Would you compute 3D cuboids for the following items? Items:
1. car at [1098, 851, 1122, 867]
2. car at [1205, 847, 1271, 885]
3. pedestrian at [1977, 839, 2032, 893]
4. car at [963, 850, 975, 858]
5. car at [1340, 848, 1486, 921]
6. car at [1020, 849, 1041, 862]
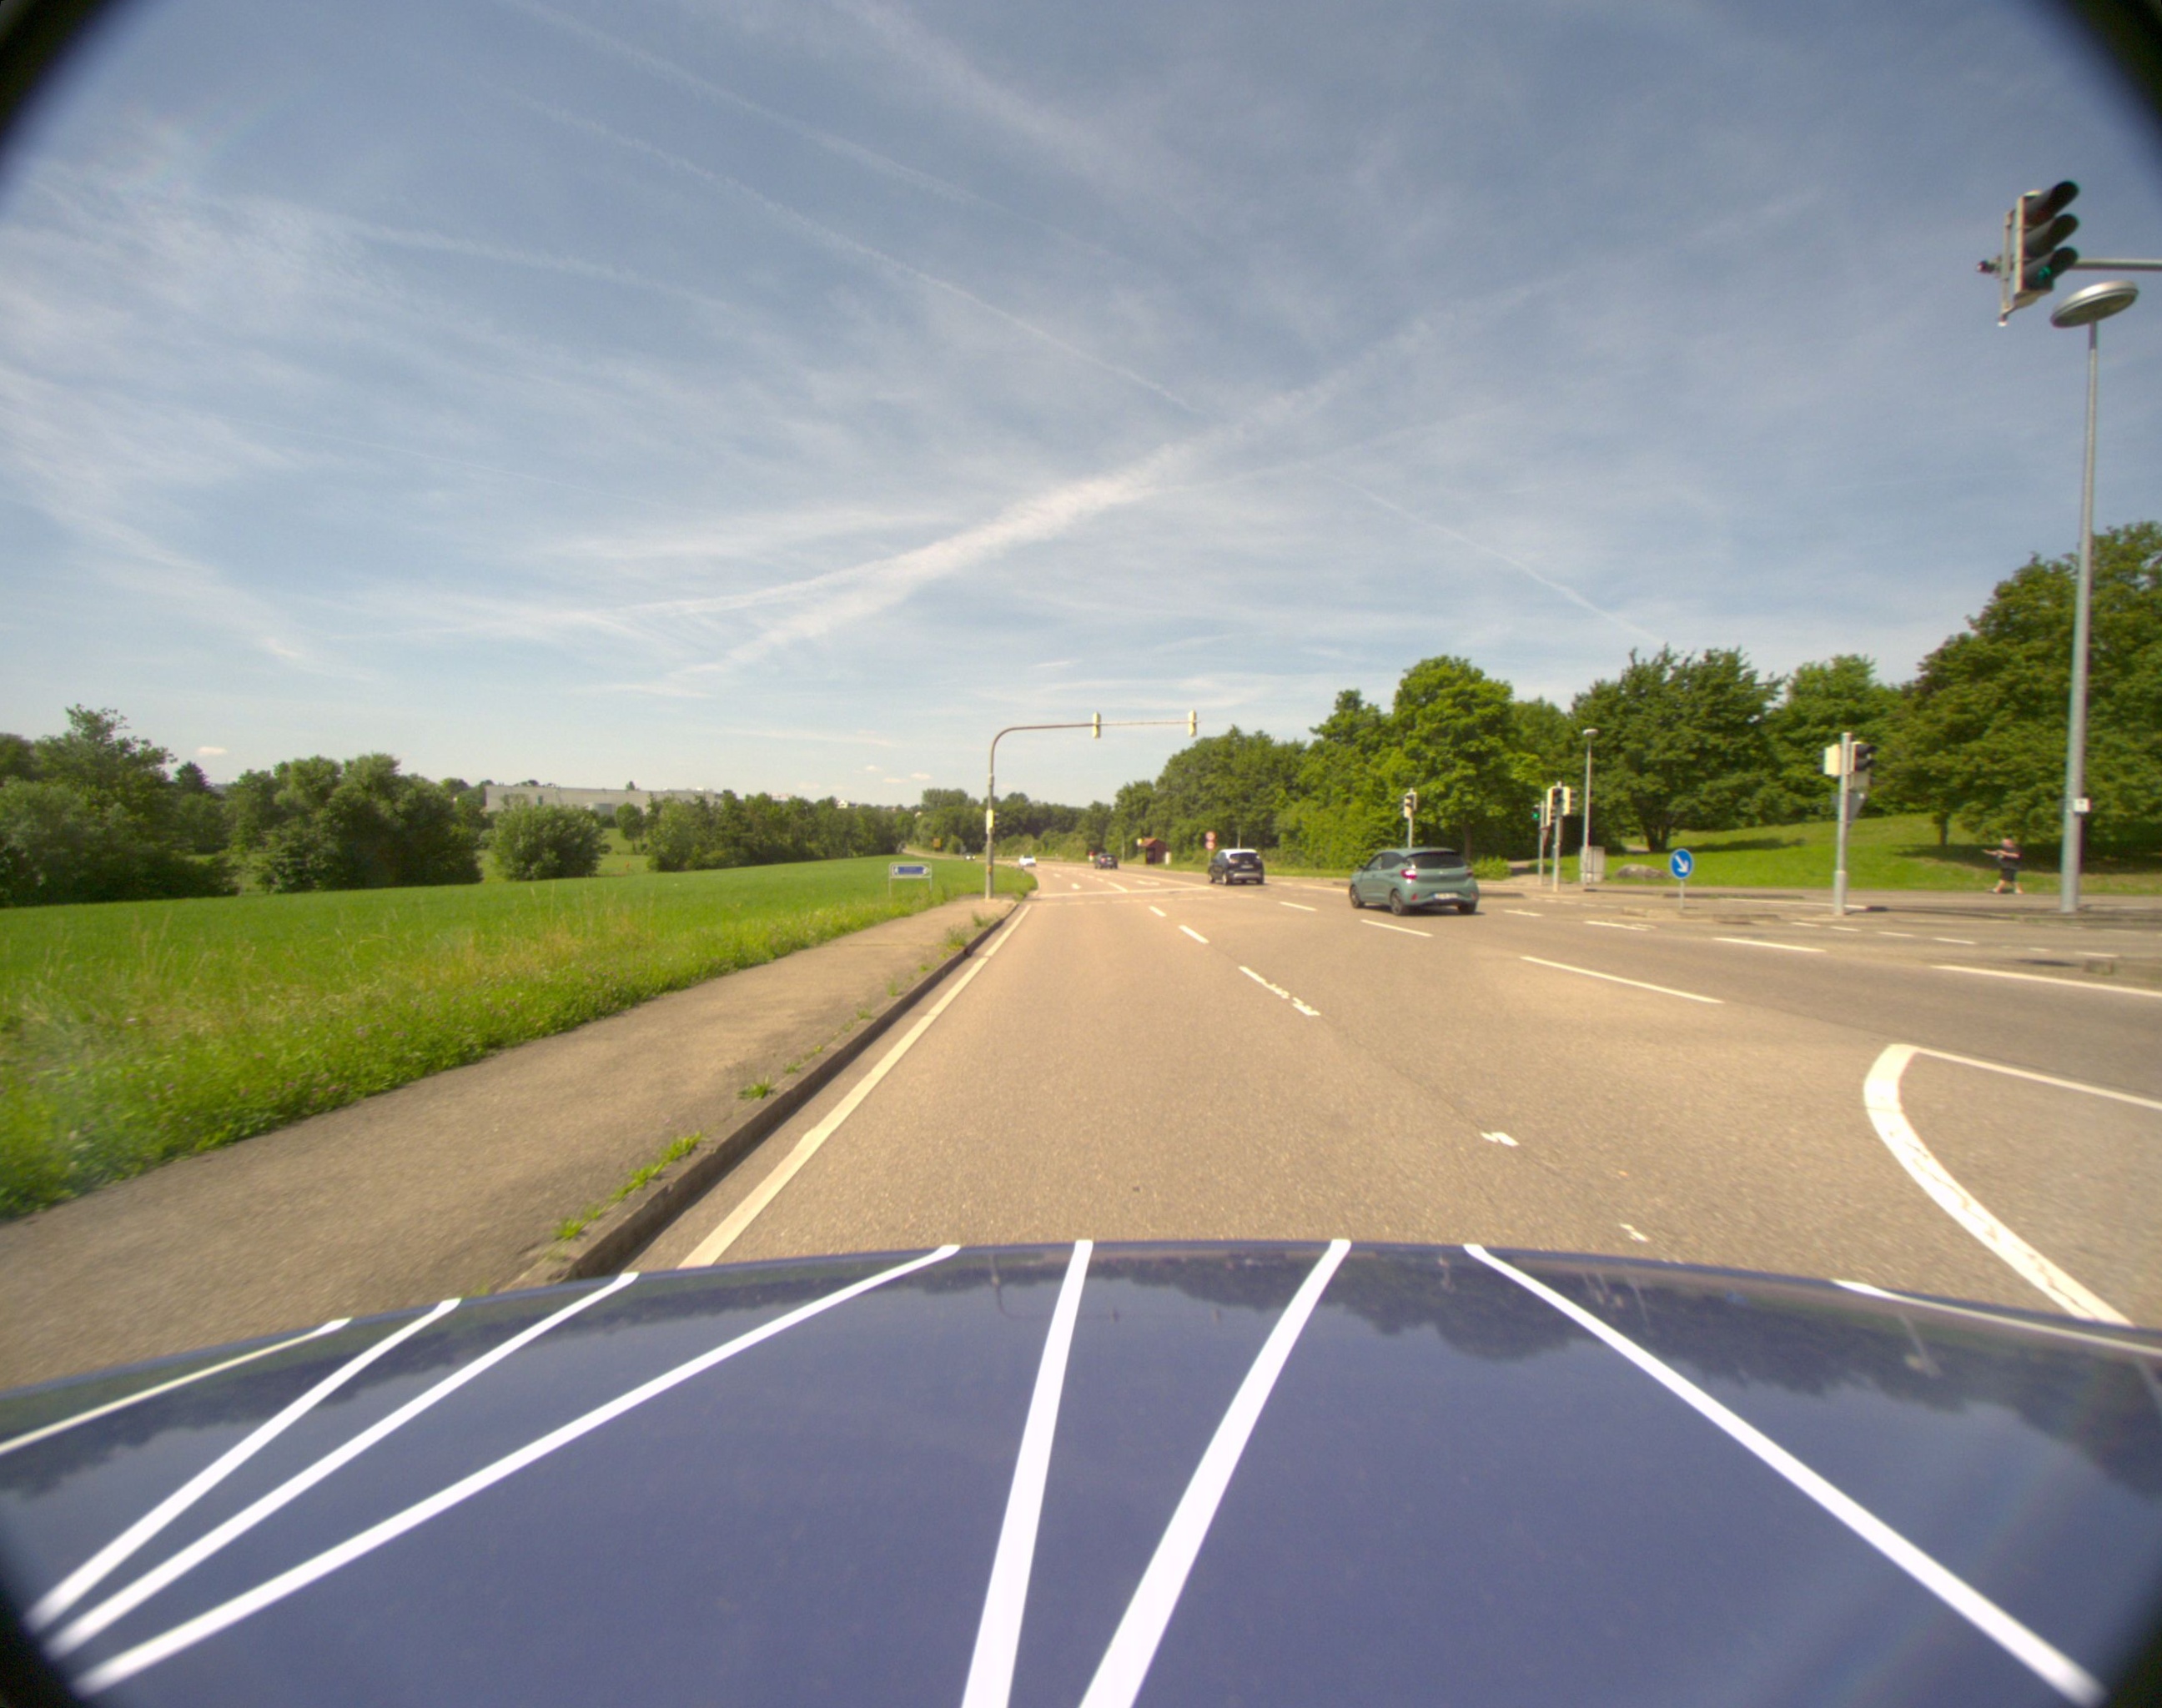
[{"bbox_3d":[2.760,0.469,73.924,1.796,1.466,4.308,-2,1,-5],"label":"car"},{"bbox_3d":[6.970,0.494,34.132,1.979,1.553,4.188,-2,1,-2],"label":"car"},{"bbox_3d":[30.386,0.400,25.020,0.919,1.726,0.901,-1,1,34],"label":"pedestrian"},{"bbox_3d":[-23.681,0.050,161.161,2.001,1.576,3.994,-2,1,-15],"label":"car"},{"bbox_3d":[7.606,0.620,17.816,1.711,1.474,3.831,-2,1,0],"label":"car"},{"bbox_3d":[-6.558,0.238,98.404,2.001,1.576,3.994,-2,1,-15],"label":"car"}]
